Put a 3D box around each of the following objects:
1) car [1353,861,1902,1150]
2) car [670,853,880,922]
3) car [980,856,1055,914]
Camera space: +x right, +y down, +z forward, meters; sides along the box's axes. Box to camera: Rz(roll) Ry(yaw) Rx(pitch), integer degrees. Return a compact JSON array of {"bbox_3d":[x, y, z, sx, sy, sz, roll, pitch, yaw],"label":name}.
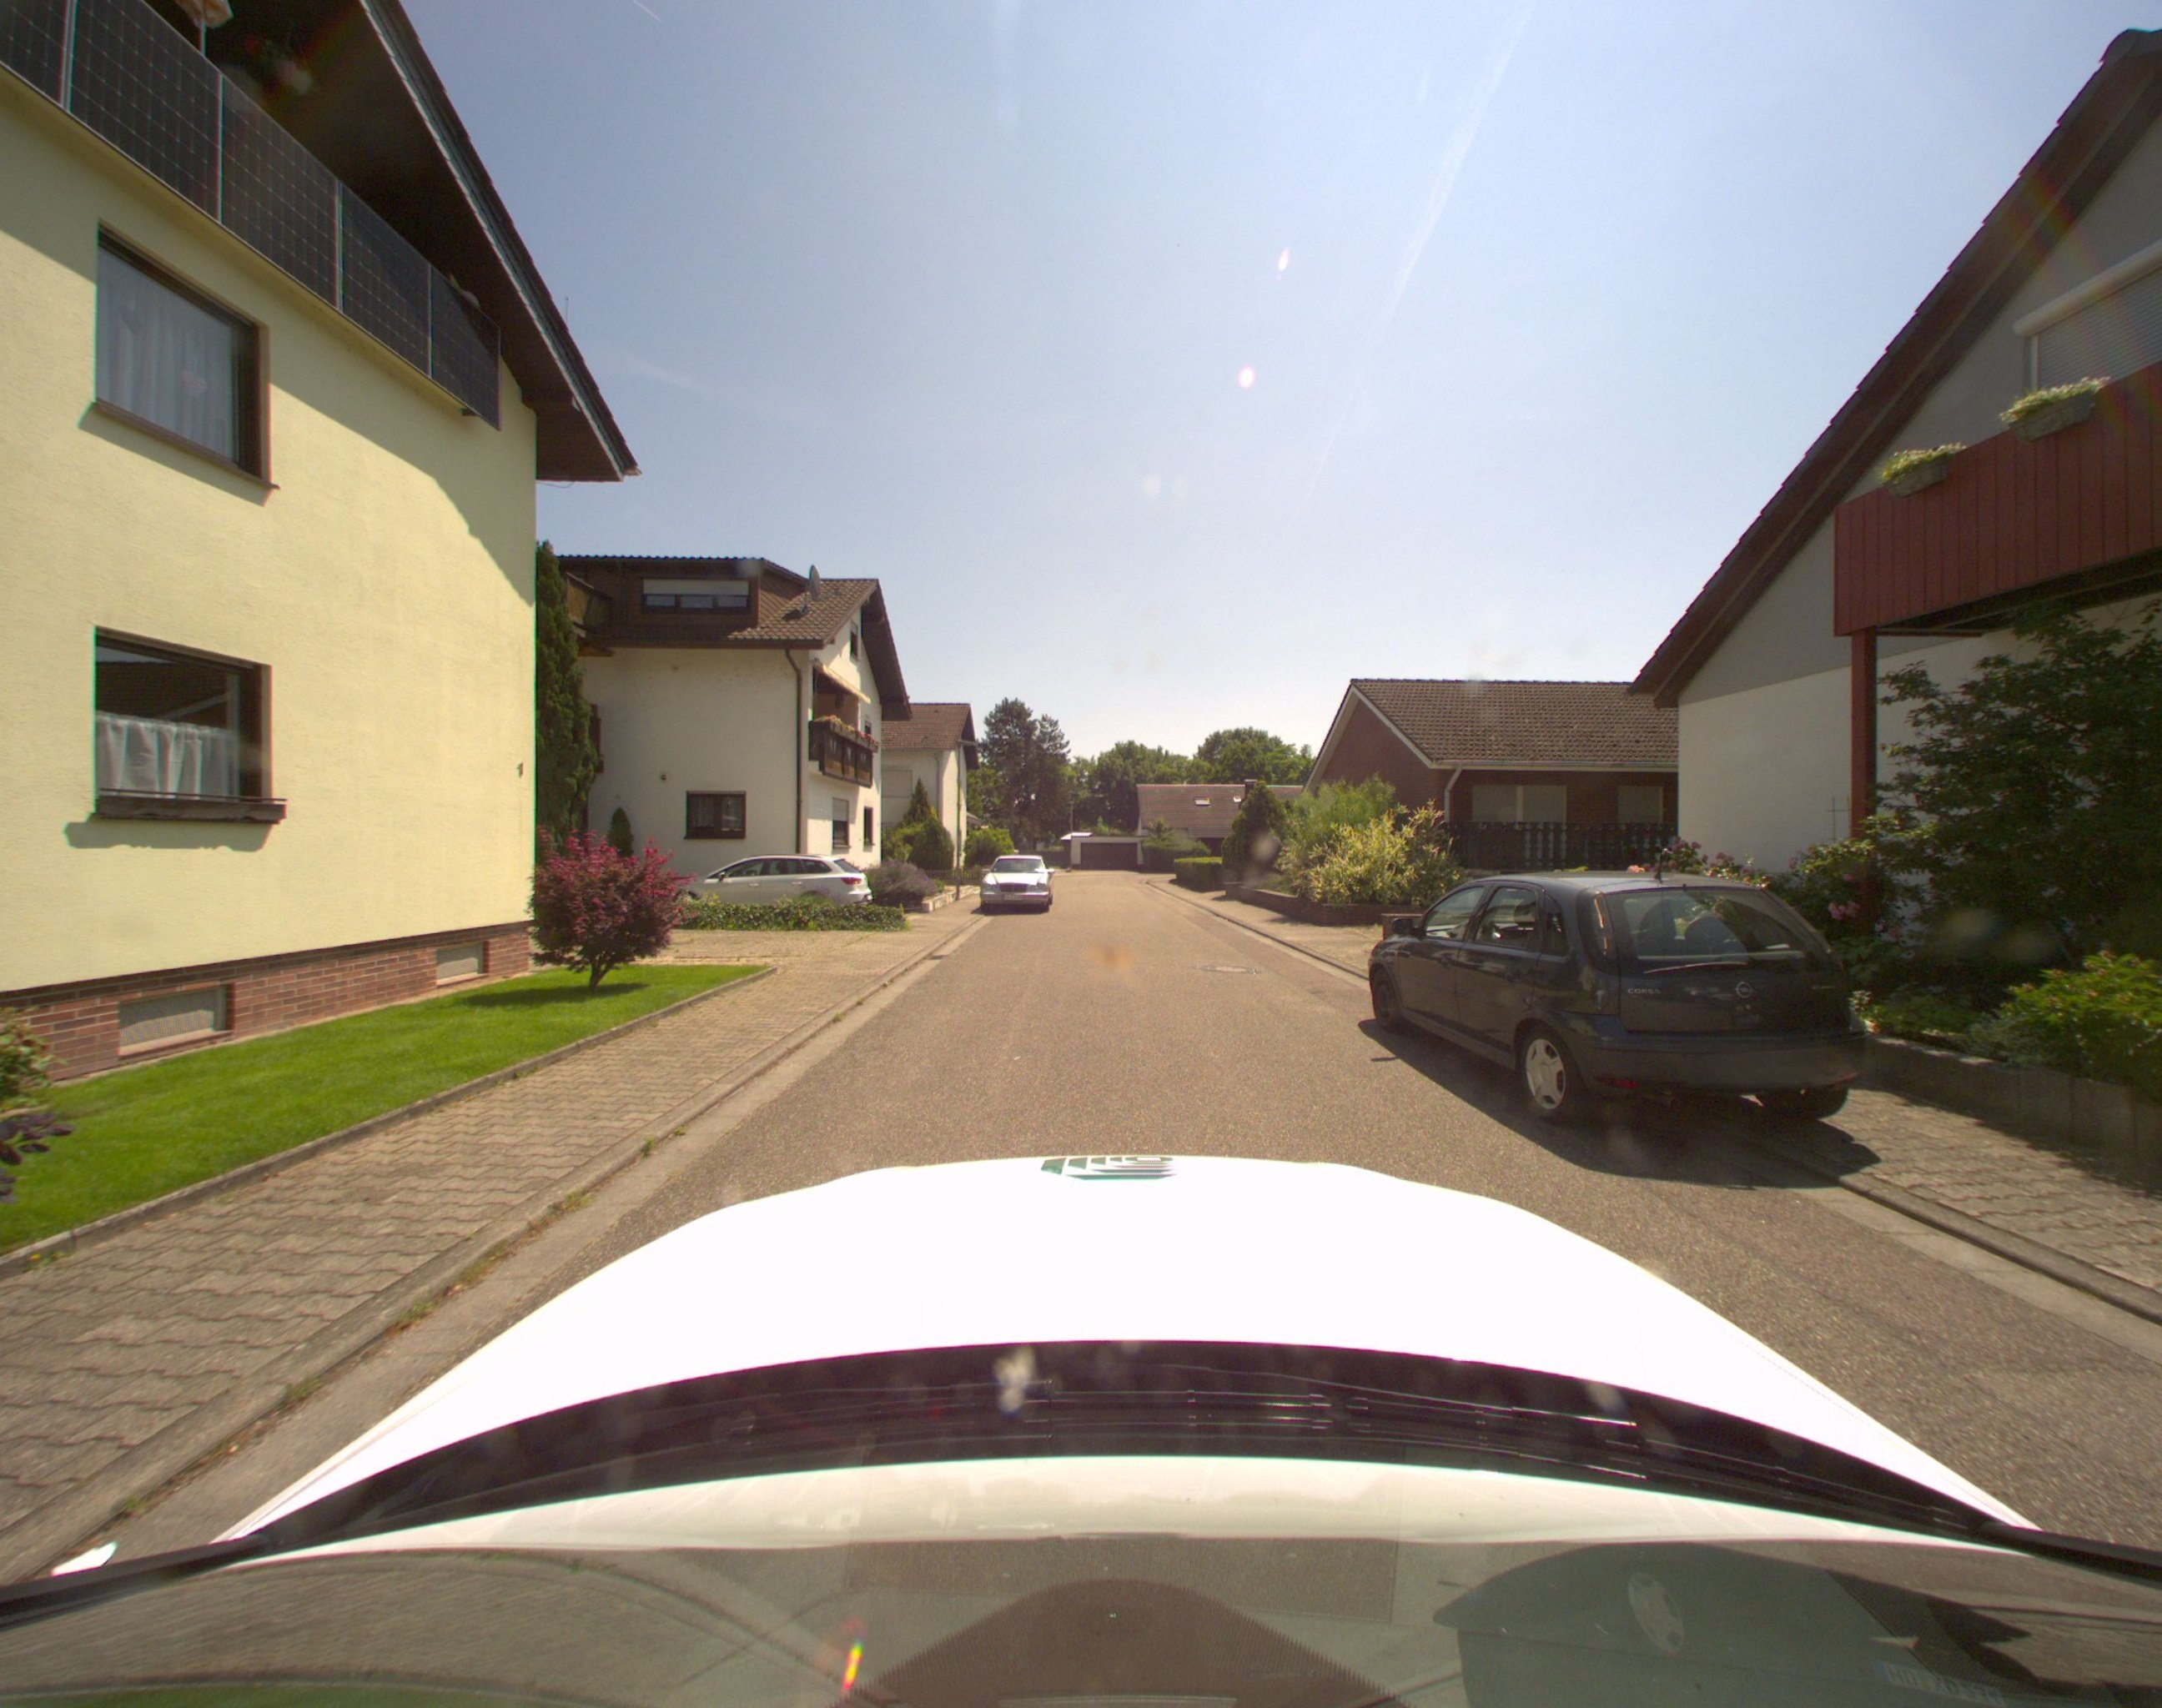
[{"bbox_3d":[3.426,0.798,6.020,1.645,1.440,3.651,0,0,0],"label":"car"},{"bbox_3d":[-6.649,0.707,18.061,3.982,1.420,1.842,0,0,-6],"label":"car"},{"bbox_3d":[-1.631,0.777,22.208,1.693,1.393,4.337,0,0,0],"label":"car"}]
